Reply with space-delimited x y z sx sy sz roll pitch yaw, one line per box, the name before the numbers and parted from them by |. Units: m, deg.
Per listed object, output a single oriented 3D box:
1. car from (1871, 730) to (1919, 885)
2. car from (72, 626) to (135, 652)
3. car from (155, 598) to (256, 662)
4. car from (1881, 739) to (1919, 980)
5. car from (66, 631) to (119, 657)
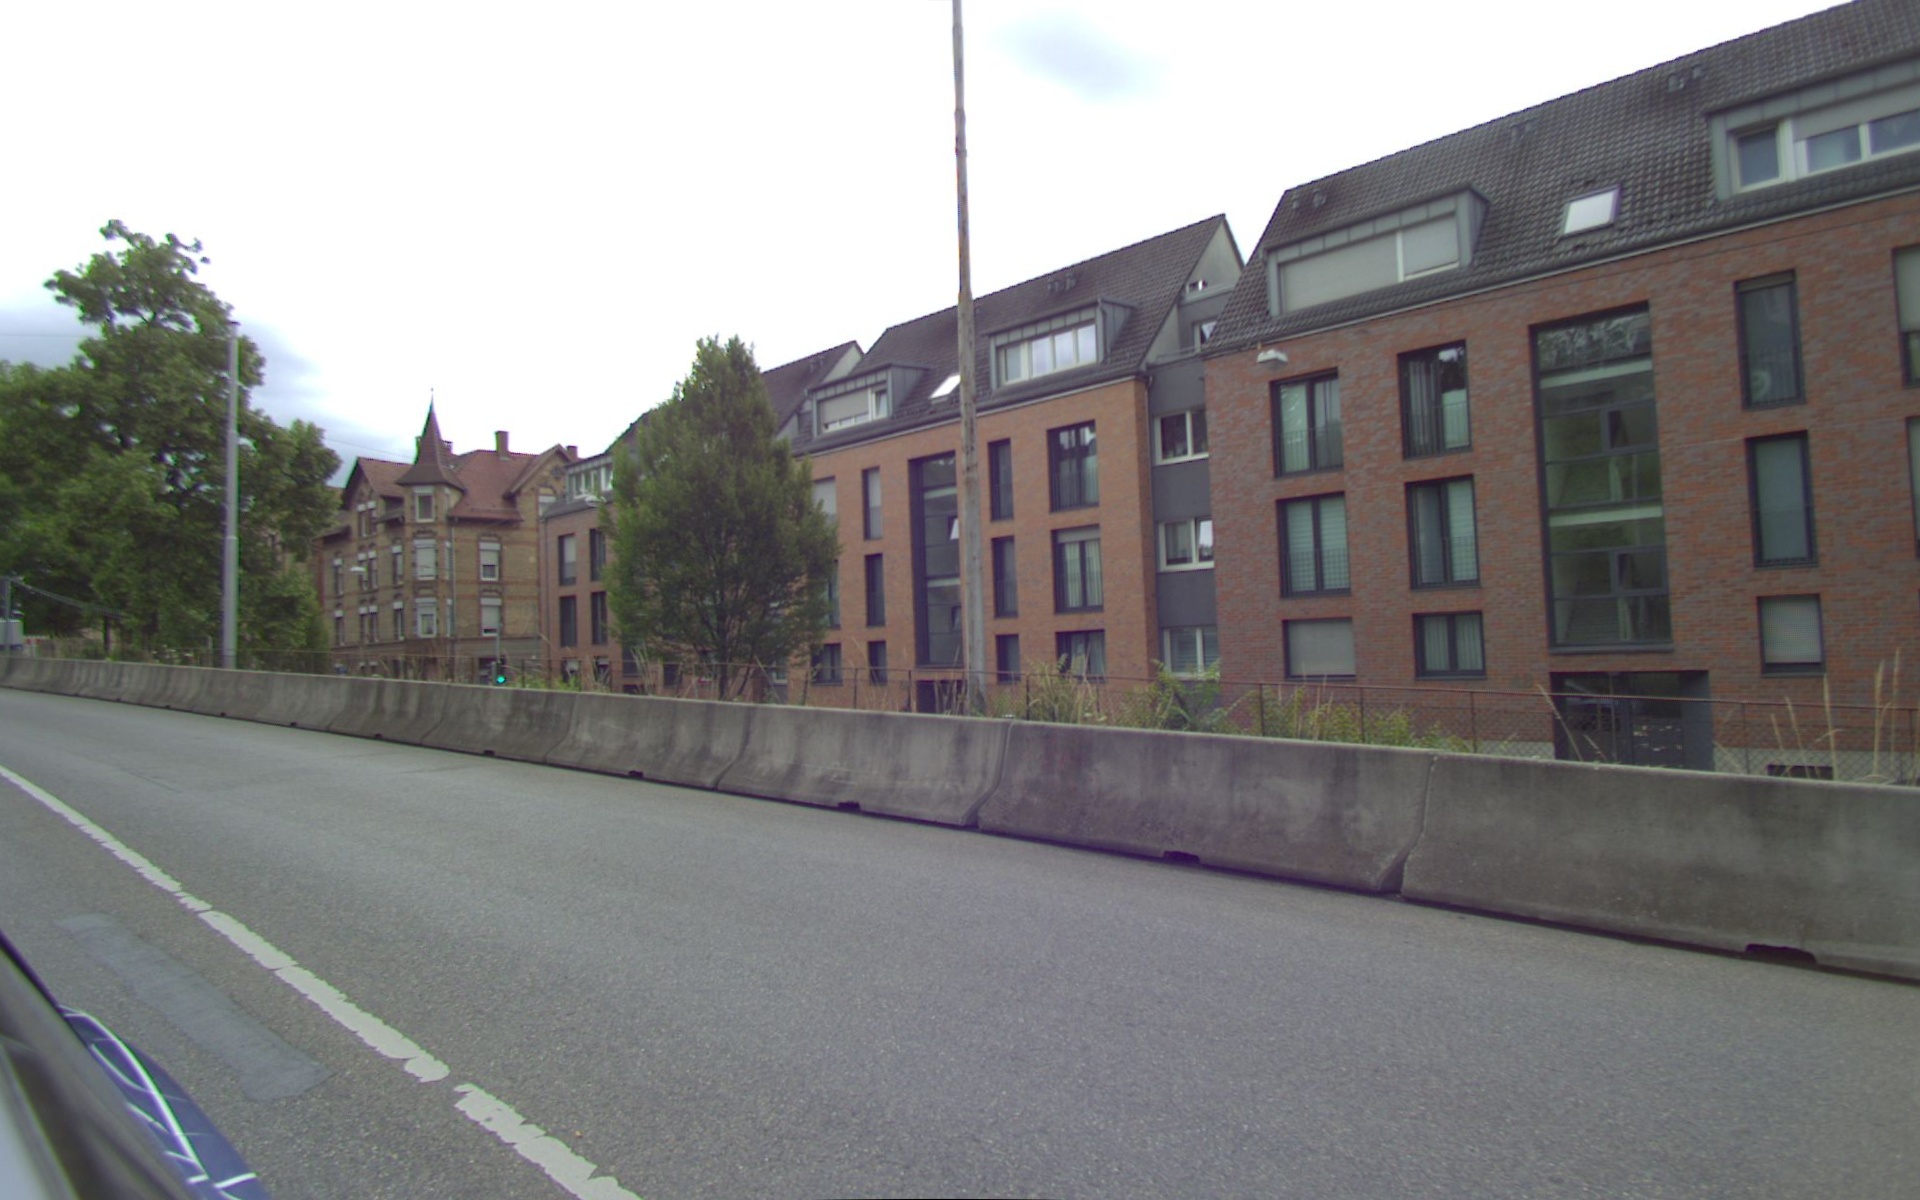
car | 14.341 2.764 13.020 3.765 1.815 1.696 -3 -1 41
car | -47.634 2.185 56.274 3.997 1.364 1.973 -2 -3 40
car | -33.124 1.257 44.381 5.735 2.601 2.531 -1 0 43
car | 8.718 1.851 6.502 3.995 1.525 1.519 -2 -2 39
car | -55.891 2.822 65.179 3.997 1.564 1.973 -2 -2 40
